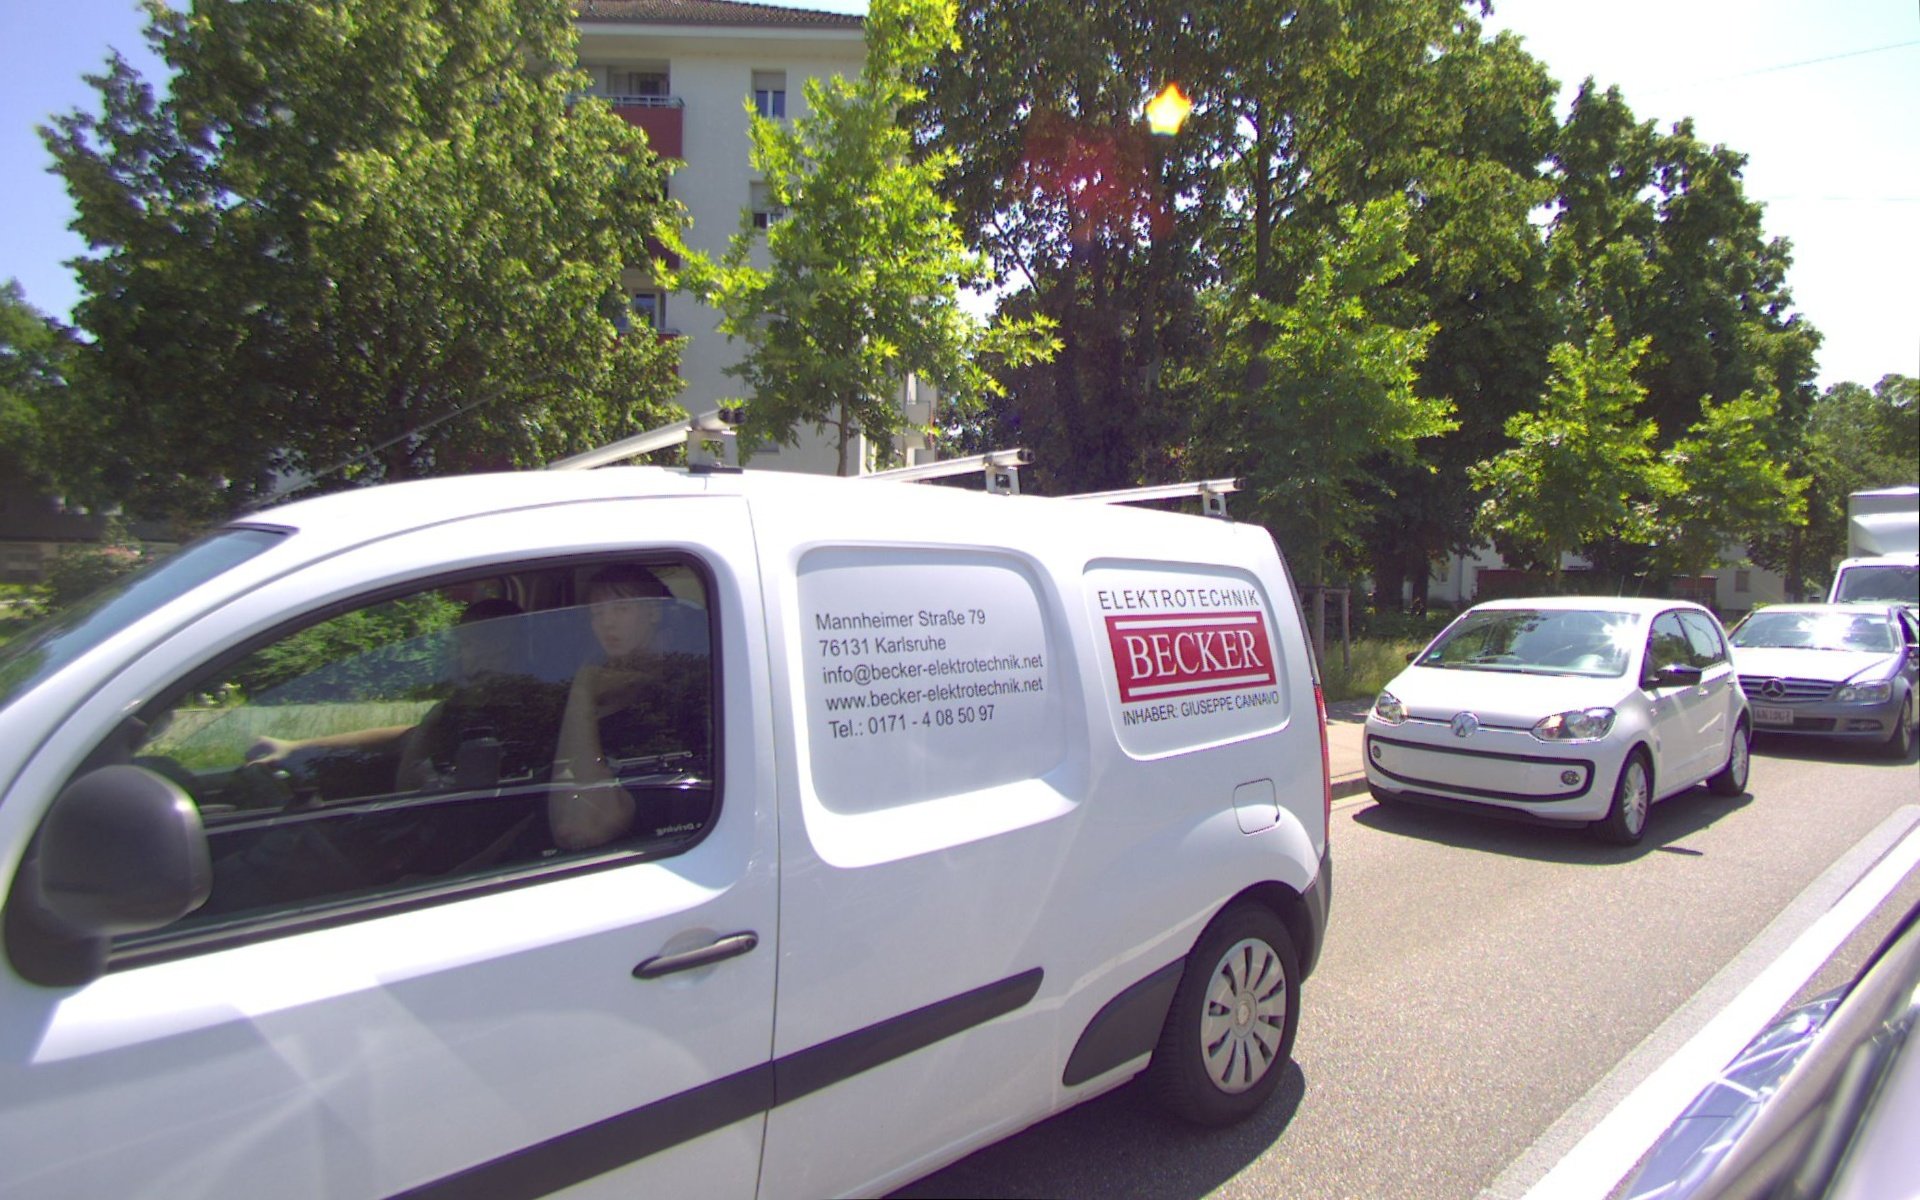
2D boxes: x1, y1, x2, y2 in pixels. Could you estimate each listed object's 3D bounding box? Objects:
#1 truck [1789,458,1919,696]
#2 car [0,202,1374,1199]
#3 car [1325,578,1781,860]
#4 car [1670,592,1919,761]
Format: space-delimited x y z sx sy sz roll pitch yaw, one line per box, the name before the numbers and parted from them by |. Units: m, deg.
truck | 16.514 -0.341 16.982 7.778 3.387 2.434 0 1 -39
car | -0.994 0.452 2.542 4.370 1.849 1.997 0 1 -41
car | 4.399 0.619 7.296 3.705 1.497 1.729 0 1 -41
car | 9.232 0.651 10.747 4.016 1.426 1.839 0 1 -41
